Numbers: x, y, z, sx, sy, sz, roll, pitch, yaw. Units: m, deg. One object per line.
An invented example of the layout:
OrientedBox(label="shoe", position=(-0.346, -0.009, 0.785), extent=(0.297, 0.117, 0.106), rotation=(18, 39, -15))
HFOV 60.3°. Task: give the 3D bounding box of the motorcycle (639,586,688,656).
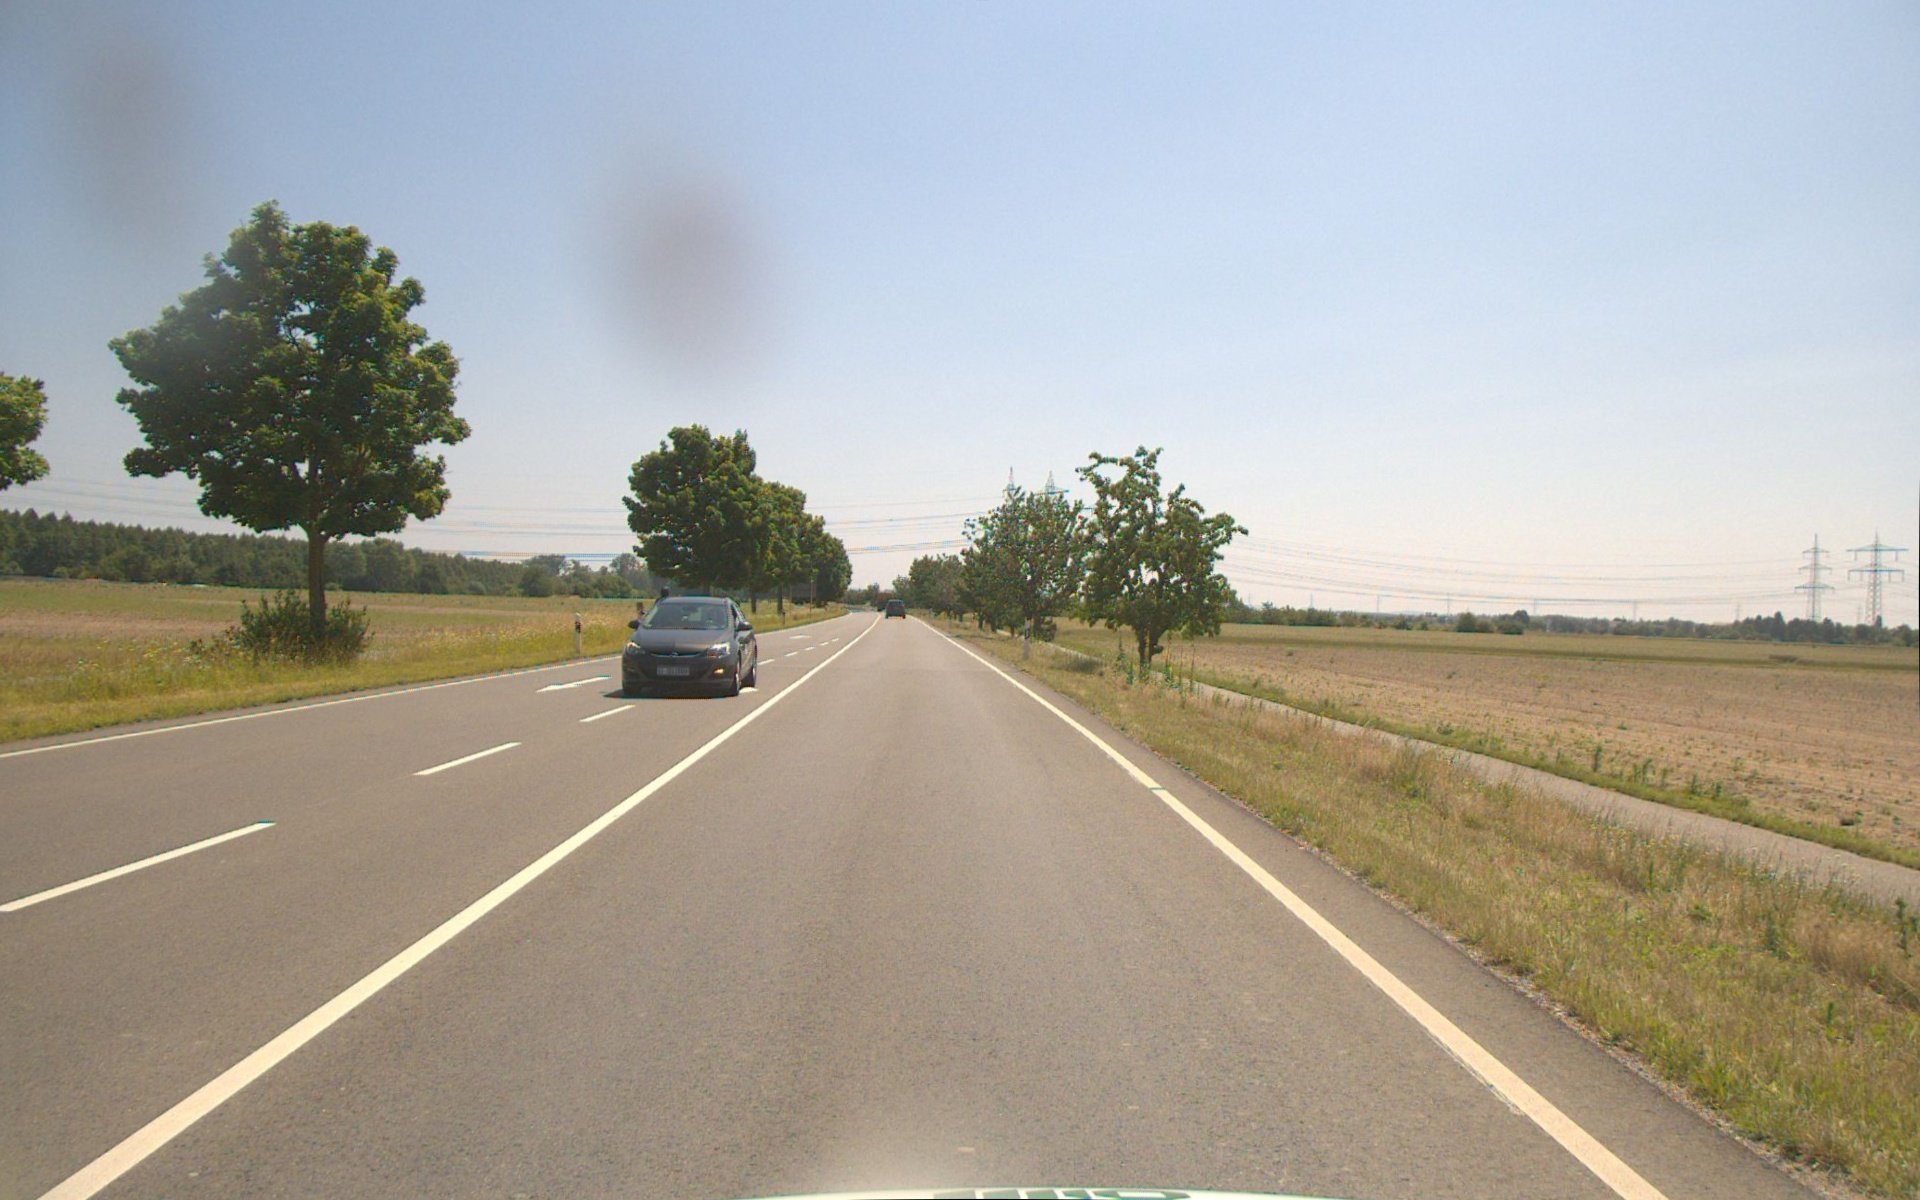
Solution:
OrientedBox(label="motorcycle", position=(-7.799, 0.535, 43.553), extent=(0.870, 1.774, 2.444), rotation=(1, 0, -1))

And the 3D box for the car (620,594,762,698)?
OrientedBox(label="car", position=(-4.201, 0.680, 26.476), extent=(1.704, 1.499, 4.615), rotation=(1, 0, -3))

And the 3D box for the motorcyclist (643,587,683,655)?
OrientedBox(label="motorcyclist", position=(-7.783, 0.534, 43.366), extent=(0.836, 1.751, 1.088), rotation=(1, 0, -1))

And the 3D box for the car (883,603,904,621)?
OrientedBox(label="car", position=(-6.189, 1.112, 154.118), extent=(1.847, 1.544, 4.037), rotation=(4, 0, -3))
